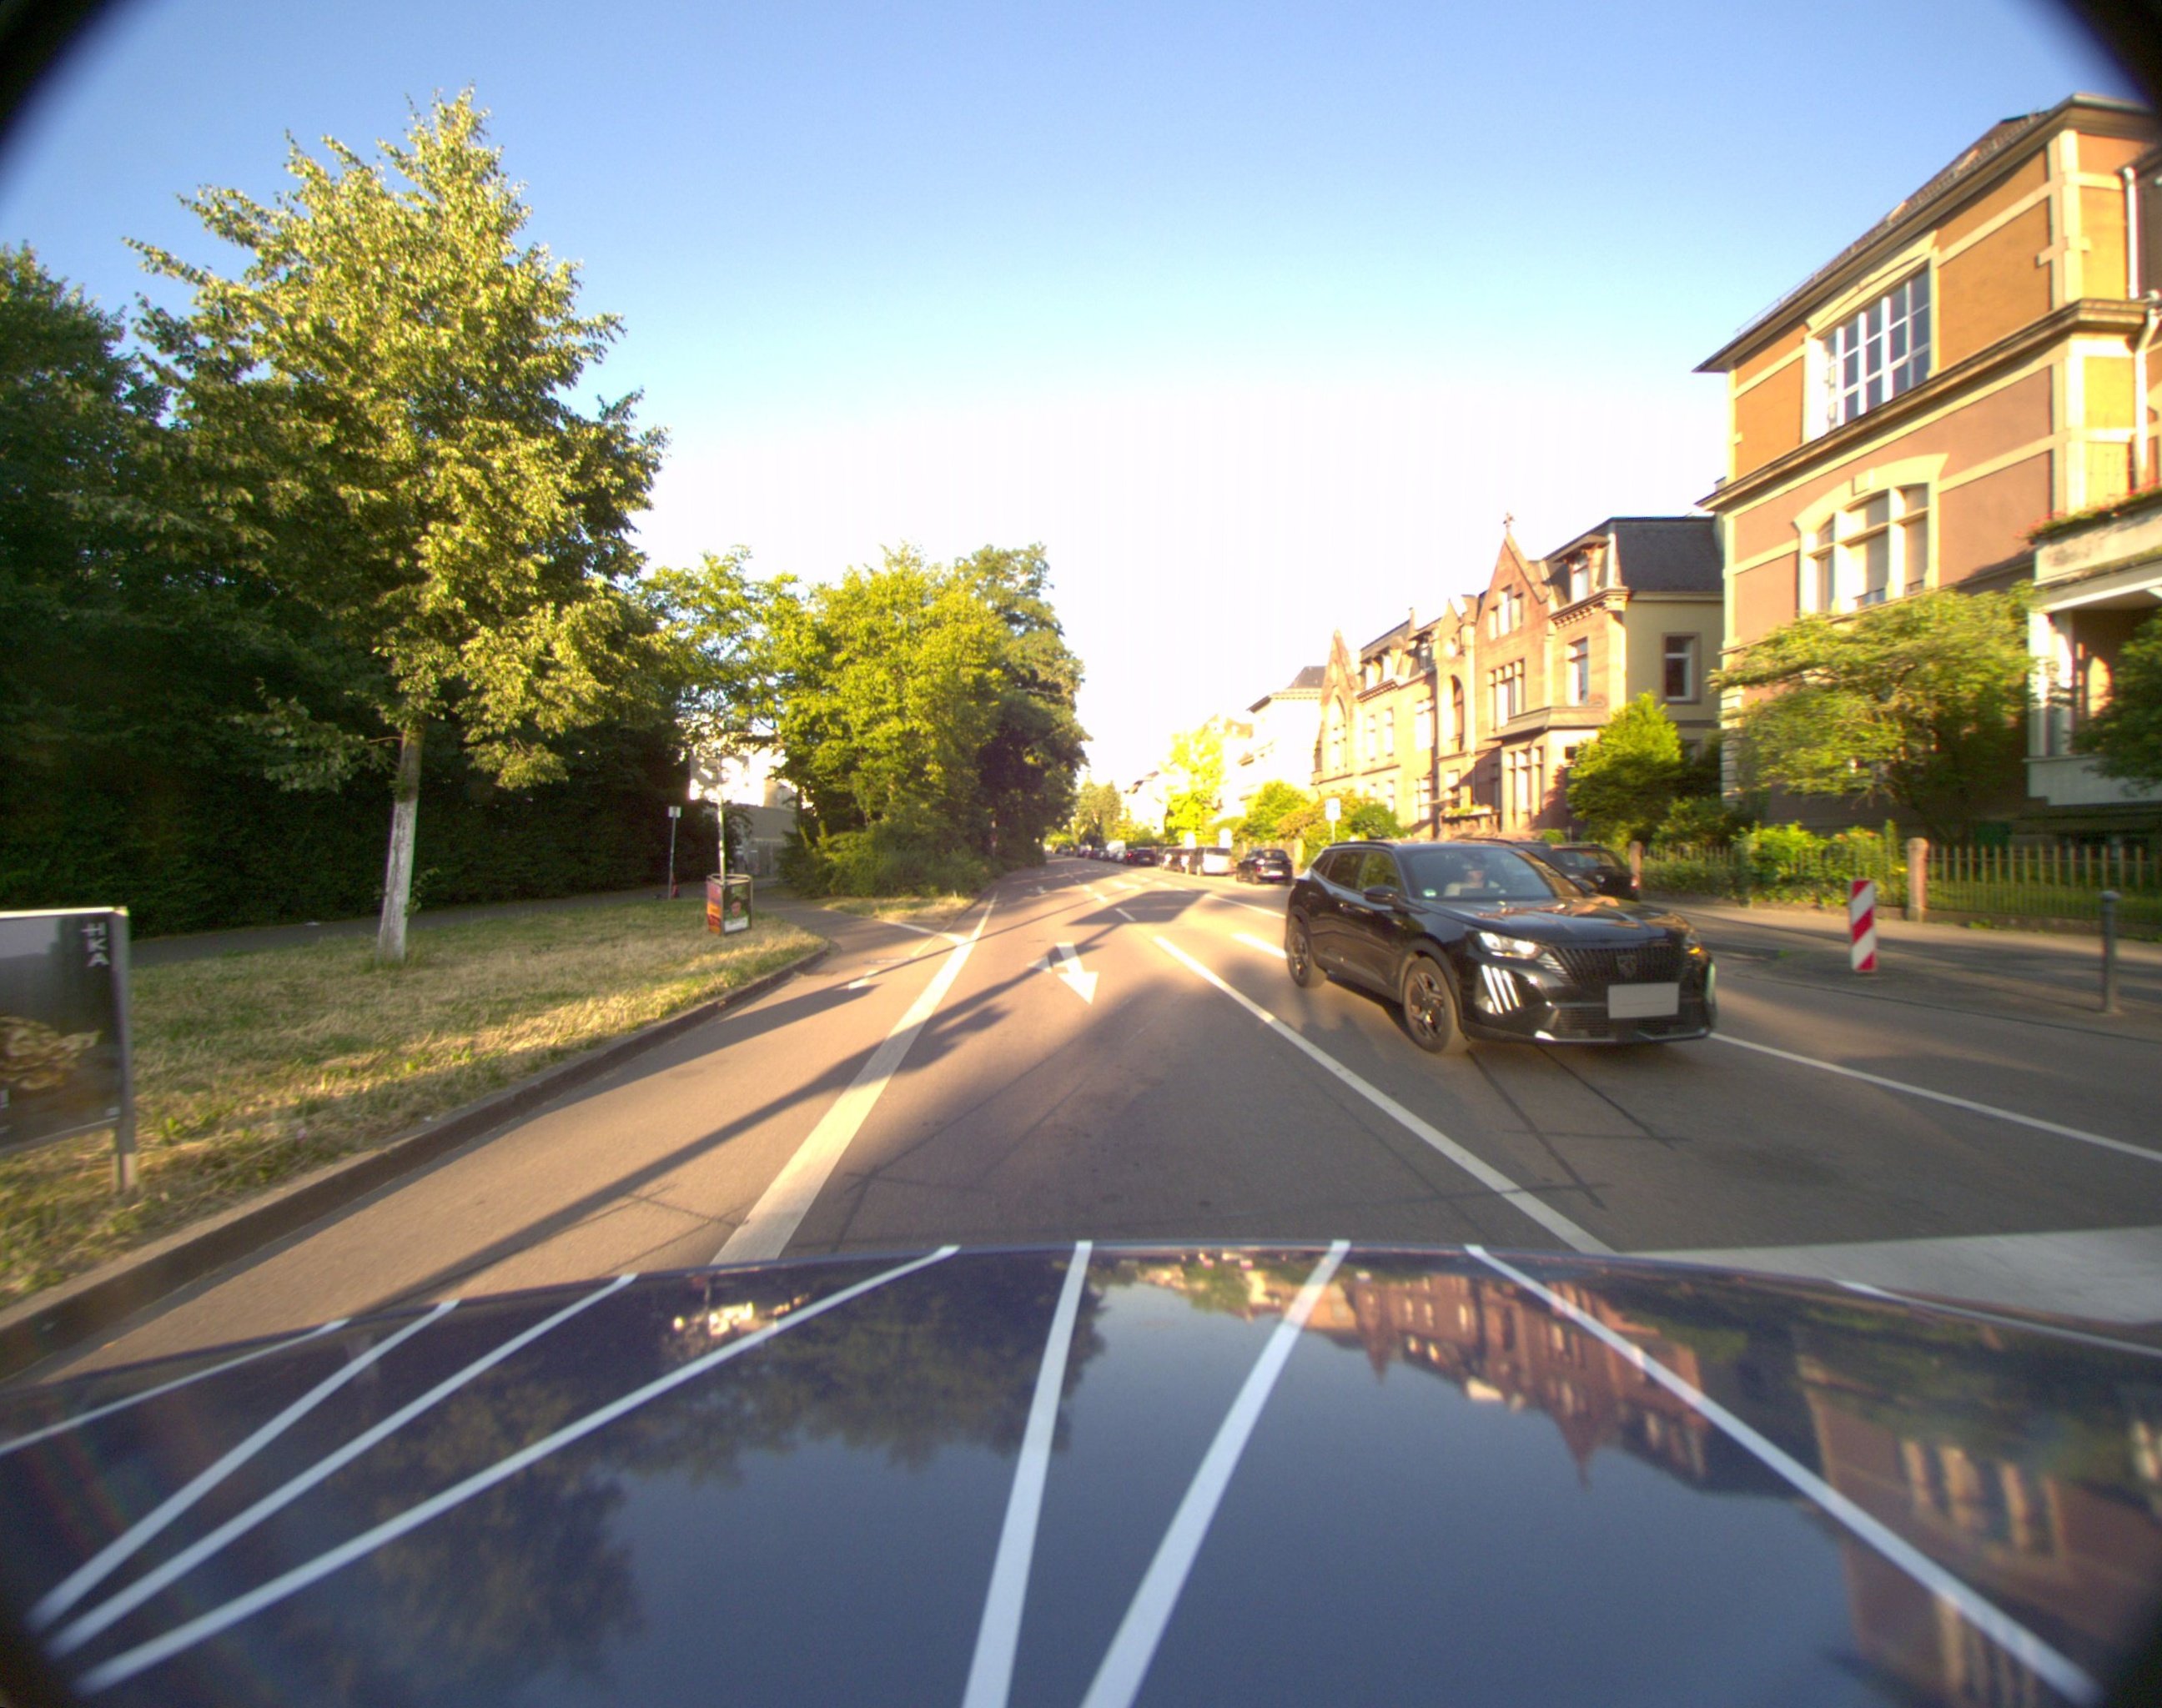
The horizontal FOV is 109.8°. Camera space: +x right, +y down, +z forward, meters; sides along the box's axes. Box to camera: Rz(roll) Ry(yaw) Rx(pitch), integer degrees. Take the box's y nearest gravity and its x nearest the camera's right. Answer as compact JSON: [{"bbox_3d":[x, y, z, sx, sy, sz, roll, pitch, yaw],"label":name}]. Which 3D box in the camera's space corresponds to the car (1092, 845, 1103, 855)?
[{"bbox_3d":[2.374,-0.642,110.652,1.327,1.430,2.696,0,1,-3],"label":"car"}]

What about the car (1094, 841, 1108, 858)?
[{"bbox_3d":[2.576,-0.568,100.850,1.571,2.253,3.798,0,1,-3],"label":"car"}]

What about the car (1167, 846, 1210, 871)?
[{"bbox_3d":[6.384,0.258,45.474,1.716,1.442,3.721,0,1,-5],"label":"car"}]

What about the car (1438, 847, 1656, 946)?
[{"bbox_3d":[8.328,0.666,14.012,1.632,1.526,3.722,2,1,-1],"label":"car"}]

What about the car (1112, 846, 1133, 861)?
[{"bbox_3d":[4.443,-0.066,81.416,1.716,1.596,3.851,0,1,-4],"label":"car"}]

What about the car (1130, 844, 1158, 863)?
[{"bbox_3d":[5.330,-0.071,64.462,1.881,1.596,3.721,0,1,-3],"label":"car"}]

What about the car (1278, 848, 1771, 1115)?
[{"bbox_3d":[3.162,0.733,6.486,1.683,1.527,3.998,-1,1,-4],"label":"car"}]

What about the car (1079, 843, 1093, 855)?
[{"bbox_3d":[0.925,-0.955,138.634,2.204,2.201,4.525,0,1,-3],"label":"car"}]

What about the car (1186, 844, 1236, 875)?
[{"bbox_3d":[6.845,0.256,40.401,1.716,1.579,3.751,0,1,-5],"label":"car"}]

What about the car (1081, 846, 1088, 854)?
[{"bbox_3d":[0.623,-0.662,133.233,1.221,1.430,2.514,0,1,-3],"label":"car"}]

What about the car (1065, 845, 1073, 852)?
[{"bbox_3d":[-3.404,-1.608,211.347,1.999,2.002,3.998,-1,1,-3],"label":"car"}]

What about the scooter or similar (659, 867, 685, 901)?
[{"bbox_3d":[-13.198,0.961,24.543,0.194,1.079,0.837,-3,0,12],"label":"scooter or similar"}]

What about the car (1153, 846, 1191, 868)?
[{"bbox_3d":[5.969,0.173,50.190,1.716,1.442,3.721,0,1,-5],"label":"car"}]

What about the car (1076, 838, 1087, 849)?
[{"bbox_3d":[0.044,-2.247,163.375,1.999,2.443,5.577,-1,1,-4],"label":"car"}]

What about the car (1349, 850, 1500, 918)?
[{"bbox_3d":[8.280,0.639,18.798,1.609,1.435,4.431,1,1,-1],"label":"car"}]

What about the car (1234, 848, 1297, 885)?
[{"bbox_3d":[7.482,0.460,31.061,1.632,1.437,3.565,0,1,-1],"label":"car"}]

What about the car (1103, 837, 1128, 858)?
[{"bbox_3d":[3.982,-0.707,88.586,2.232,2.355,5.876,0,1,-4],"label":"car"}]

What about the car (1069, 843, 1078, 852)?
[{"bbox_3d":[-1.774,-1.479,179.242,1.999,2.002,3.998,-3,1,-2],"label":"car"}]
